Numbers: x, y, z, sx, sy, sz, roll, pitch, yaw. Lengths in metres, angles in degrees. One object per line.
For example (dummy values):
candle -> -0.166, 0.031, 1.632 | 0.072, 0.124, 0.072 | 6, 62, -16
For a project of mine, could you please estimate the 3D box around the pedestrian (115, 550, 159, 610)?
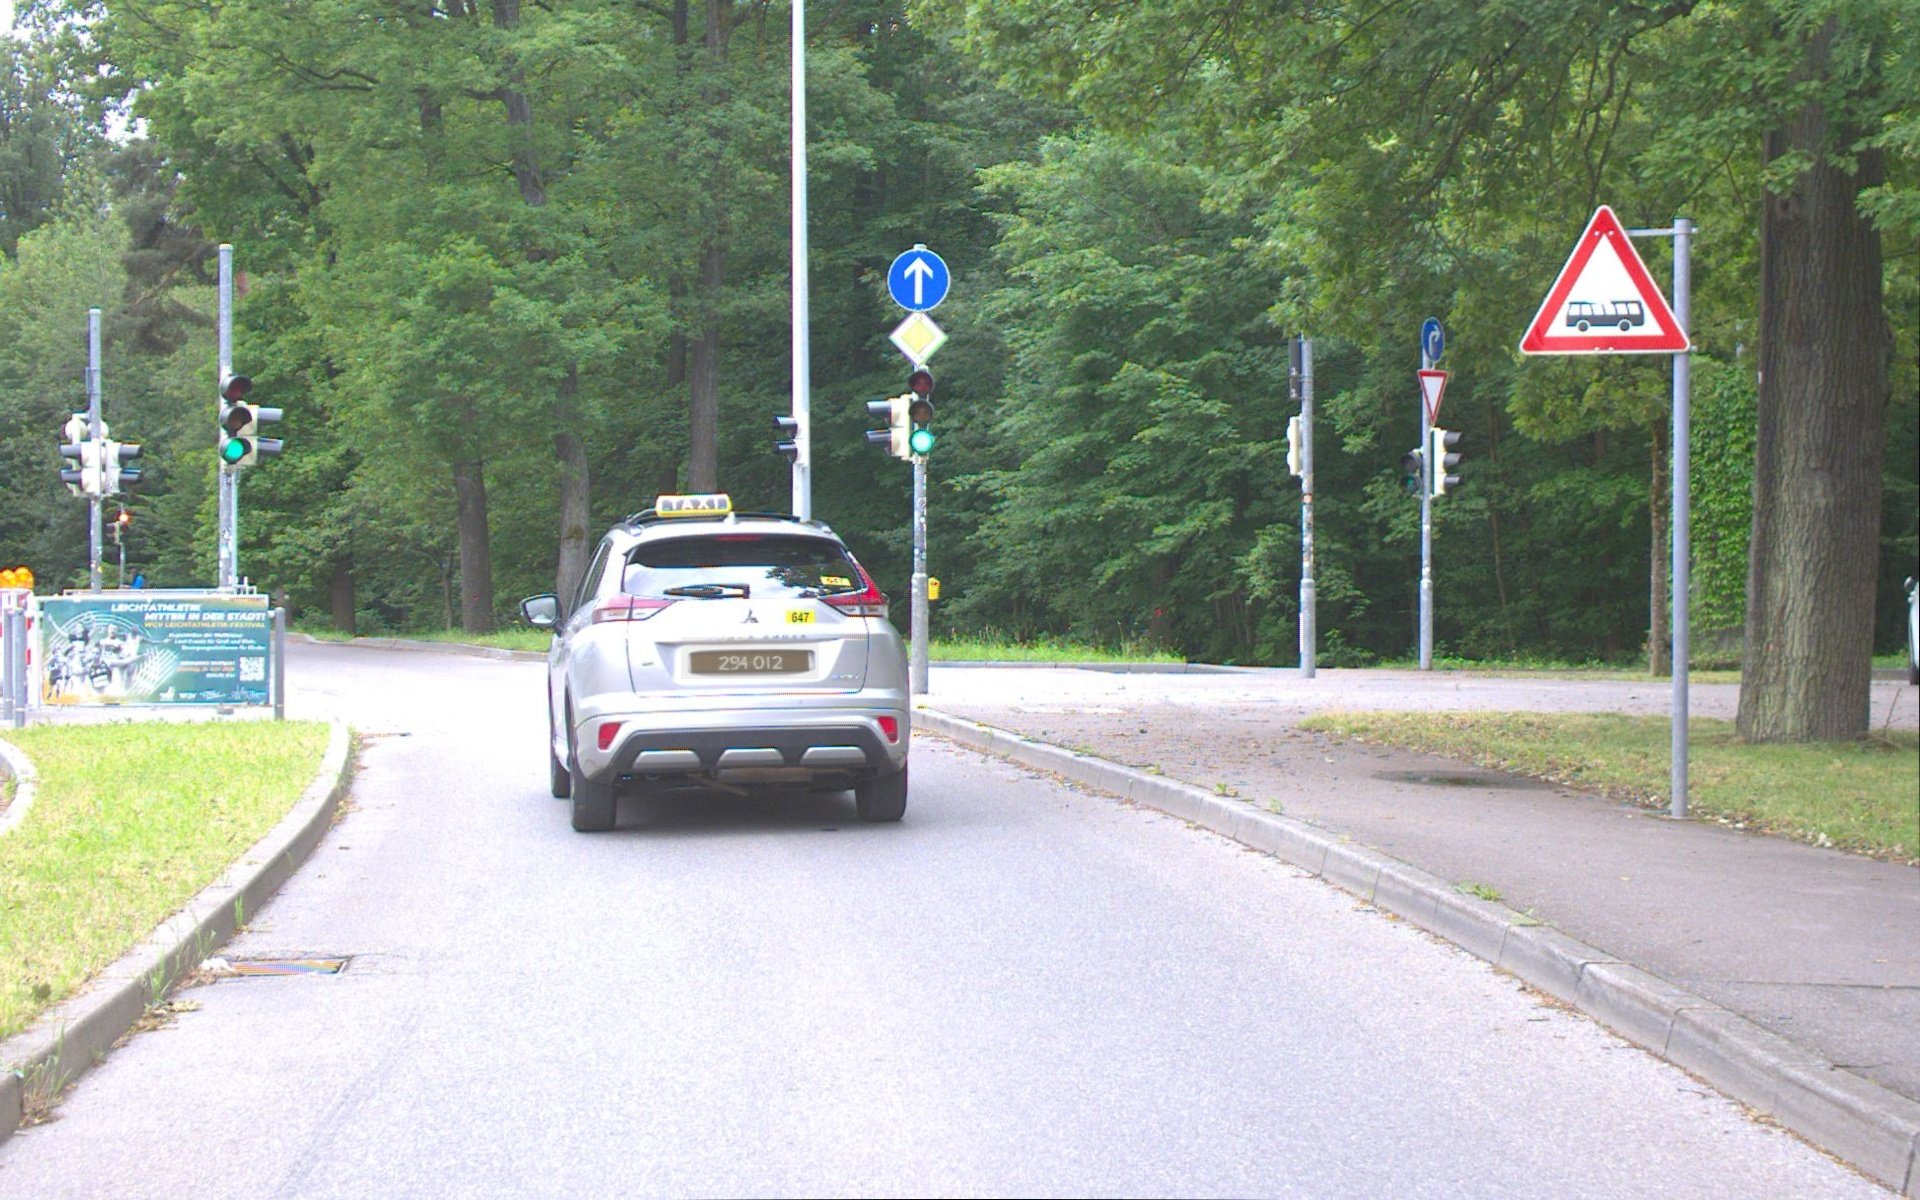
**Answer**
pedestrian -> -22.944, -0.564, 95.834 | 1.047, 1.643, 1.069 | -2, 1, -18

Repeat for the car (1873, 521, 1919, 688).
car -> 10.060, 0.041, 33.747 | 1.995, 1.547, 4.418 | 1, 1, 14

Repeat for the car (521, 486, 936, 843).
car -> -1.411, 0.291, 19.354 | 1.846, 1.774, 4.001 | -1, 1, -11
